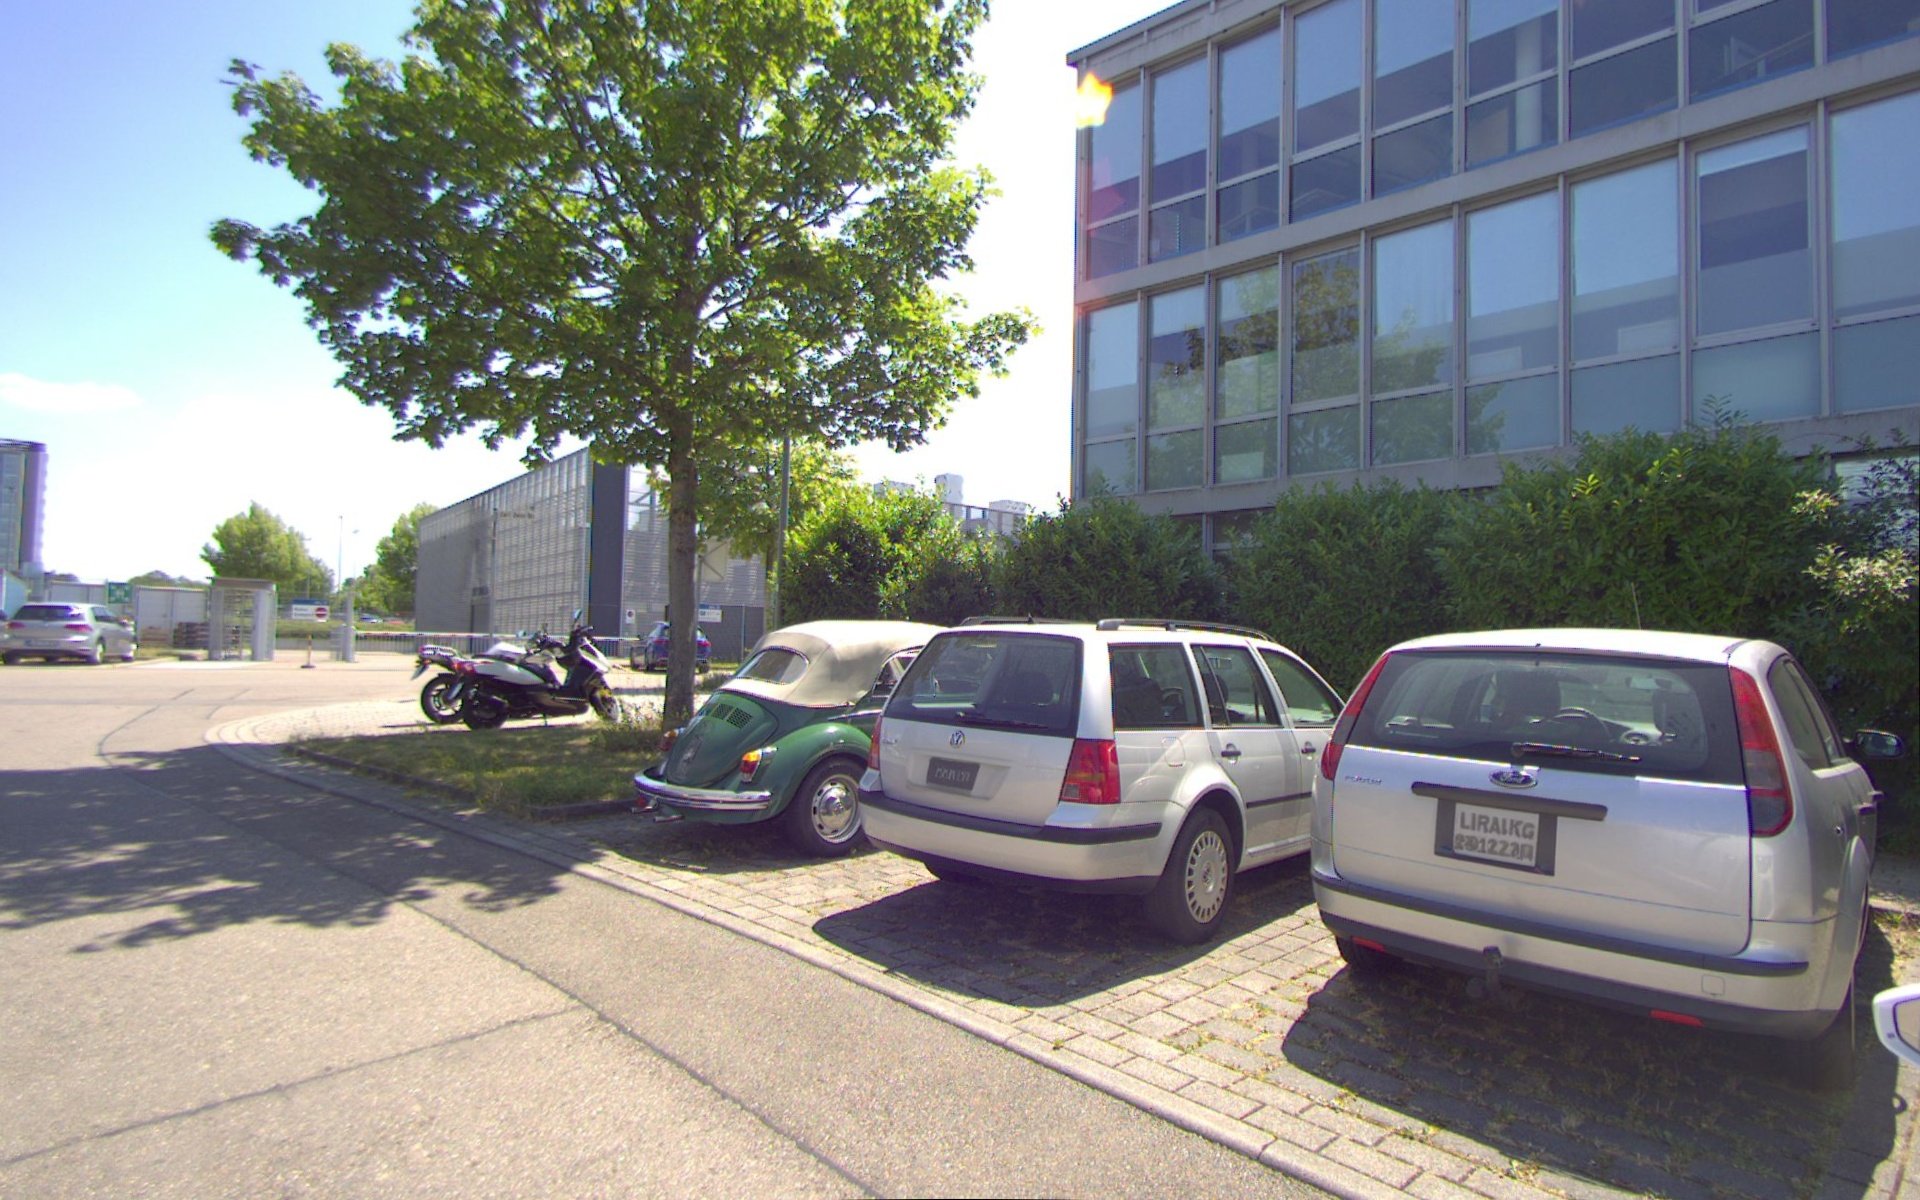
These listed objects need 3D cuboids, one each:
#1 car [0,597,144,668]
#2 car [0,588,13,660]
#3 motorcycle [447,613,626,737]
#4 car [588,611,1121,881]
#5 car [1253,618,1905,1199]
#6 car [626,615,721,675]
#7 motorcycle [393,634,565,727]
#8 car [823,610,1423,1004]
[{"bbox_3d":[-21.548,0.772,24.480,1.631,1.542,3.974,3,-2,-26],"label":"car"},{"bbox_3d":[-23.792,0.556,23.464,1.755,1.761,3.962,3,-2,-34],"label":"car"},{"bbox_3d":[-5.133,0.889,12.294,0.477,1.408,1.979,1,-2,41],"label":"motorcycle"},{"bbox_3d":[-0.545,0.894,7.522,1.629,1.467,3.872,0,-2,42],"label":"car"},{"bbox_3d":[3.225,0.914,4.727,1.702,1.498,4.322,0,-2,44],"label":"car"},{"bbox_3d":[-8.491,1.296,29.531,1.974,1.616,3.973,2,-2,-26],"label":"car"},{"bbox_3d":[-6.246,1.022,13.150,0.477,1.123,1.979,1,-2,41],"label":"motorcycle"},{"bbox_3d":[1.227,0.885,5.869,1.629,1.498,3.872,0,-2,42],"label":"car"}]
